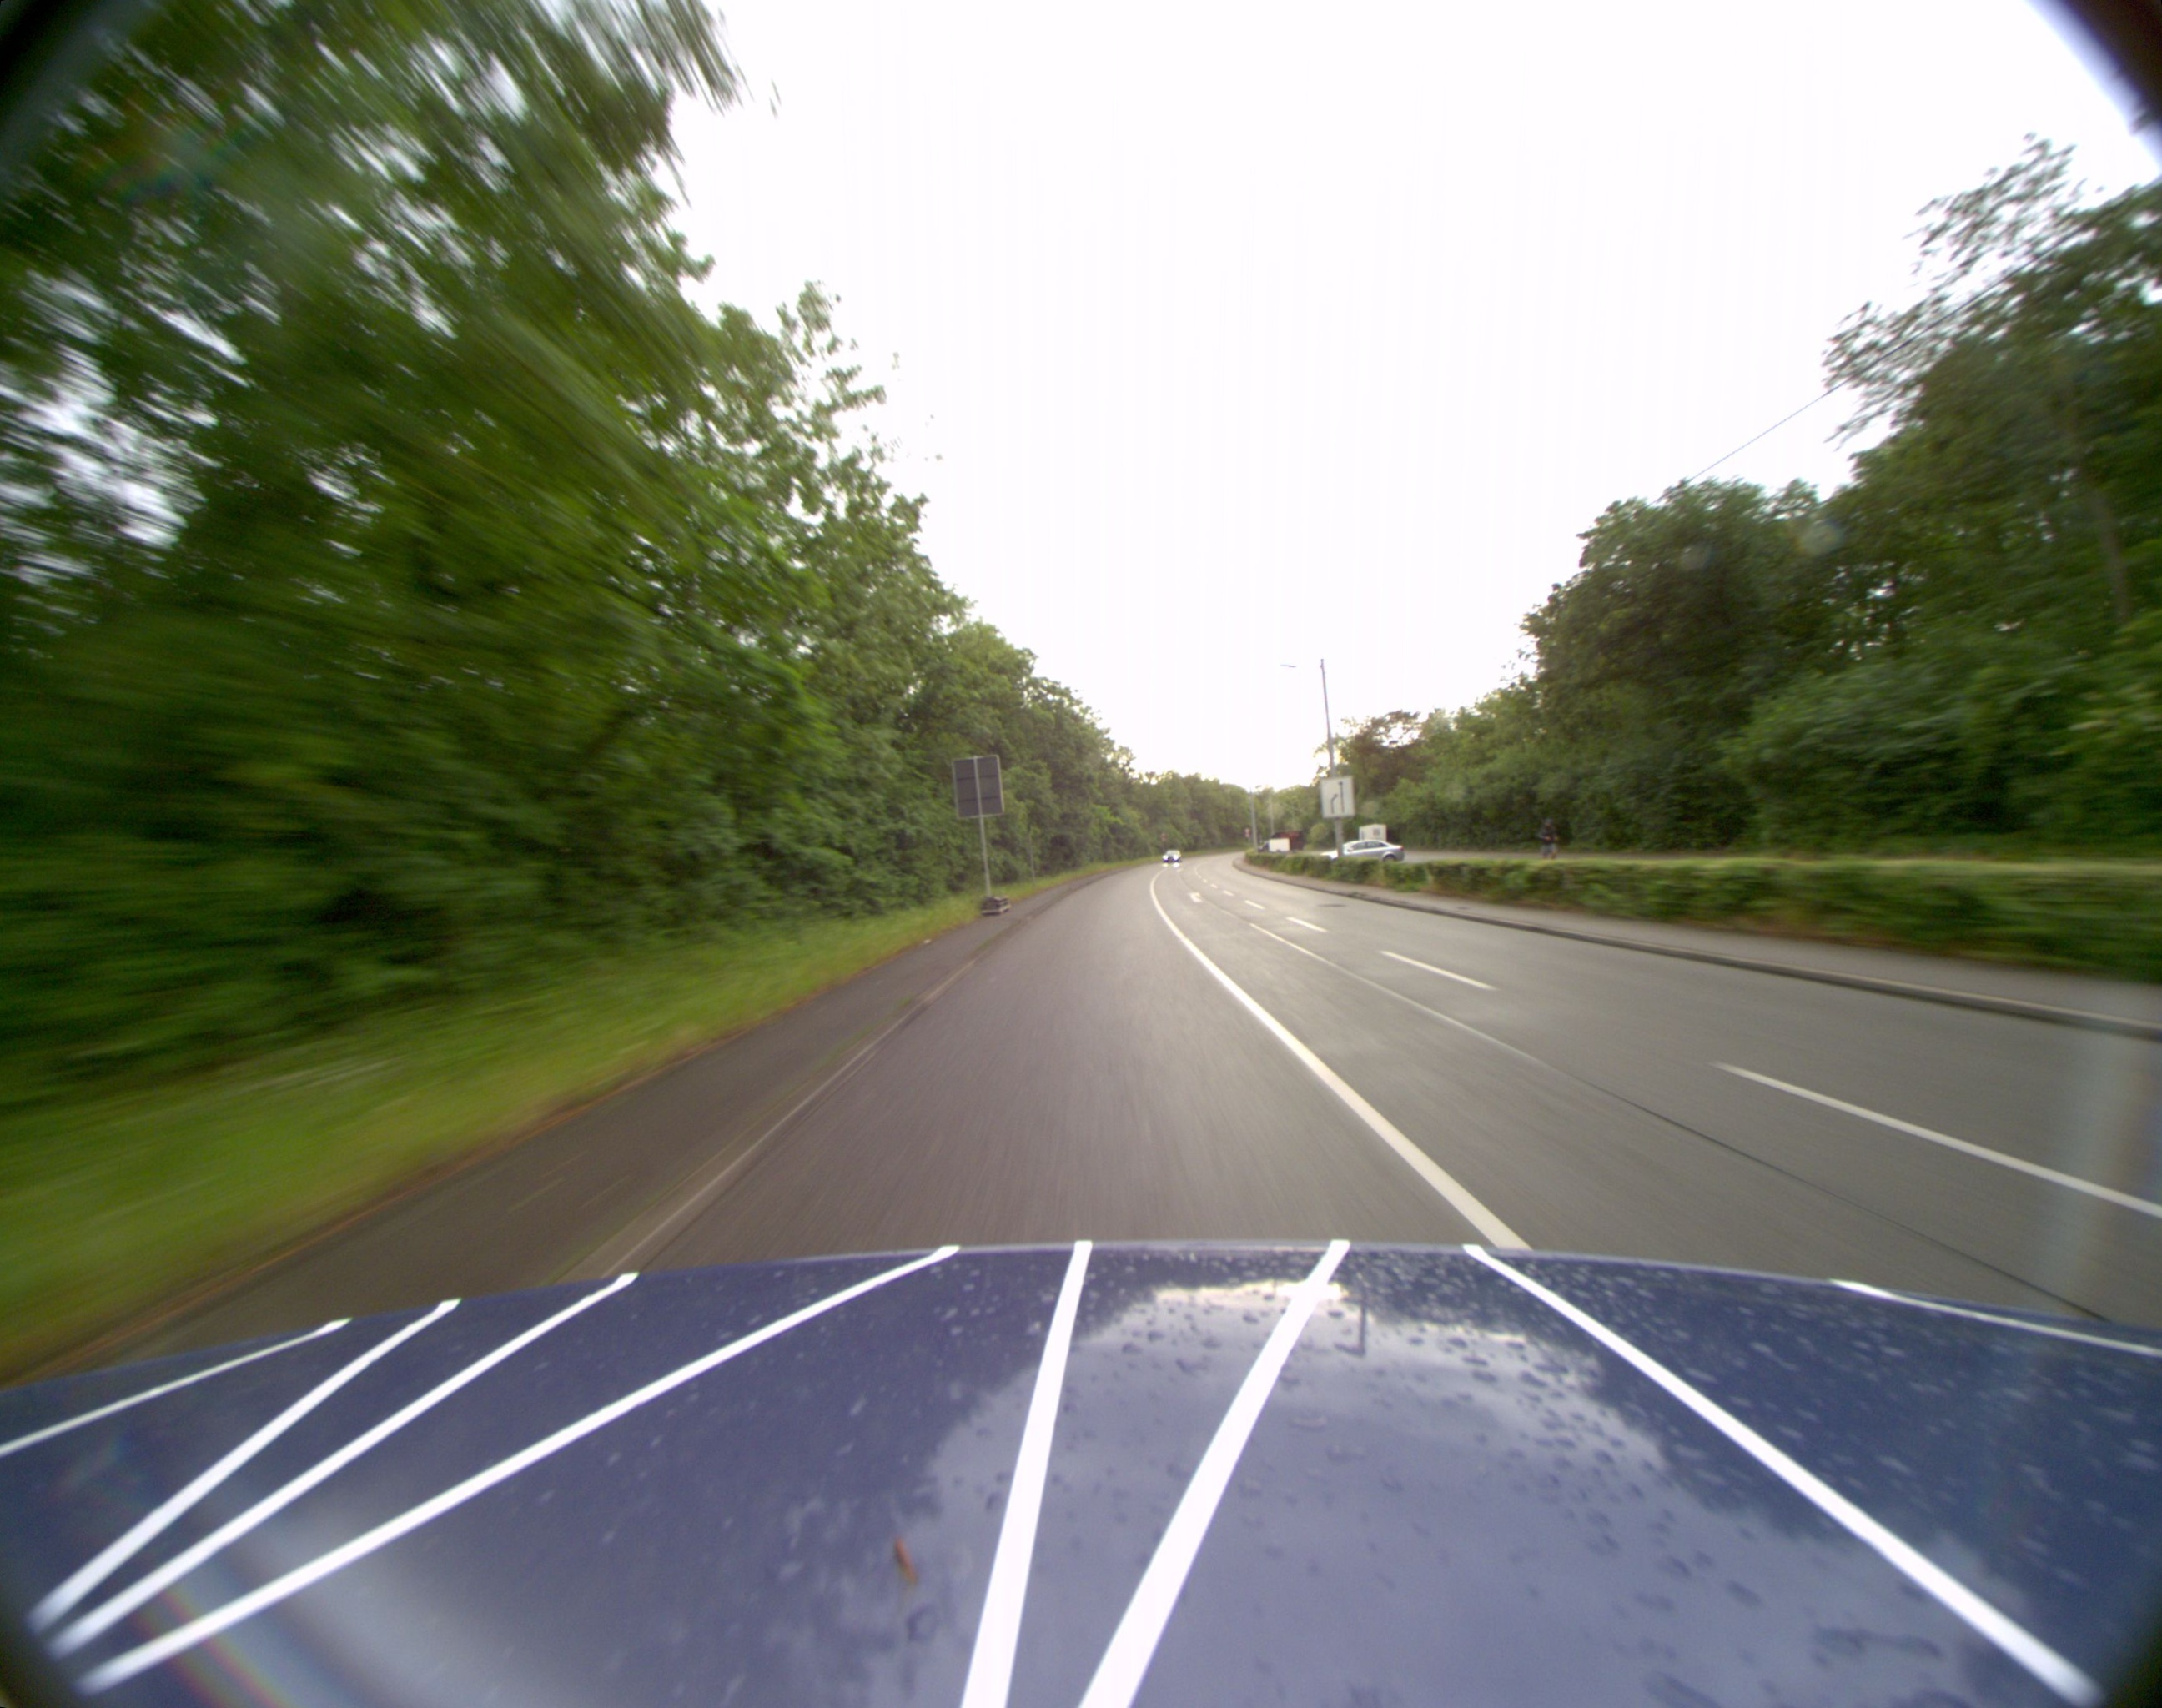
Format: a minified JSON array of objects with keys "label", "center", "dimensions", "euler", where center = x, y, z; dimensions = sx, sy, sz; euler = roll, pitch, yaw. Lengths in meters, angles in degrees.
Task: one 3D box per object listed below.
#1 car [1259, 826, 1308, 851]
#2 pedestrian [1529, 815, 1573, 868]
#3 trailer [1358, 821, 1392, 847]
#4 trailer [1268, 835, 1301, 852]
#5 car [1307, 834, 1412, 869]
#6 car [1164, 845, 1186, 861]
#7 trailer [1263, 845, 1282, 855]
[{"label":"car","center":[27.938,-2.162,105.205],"dimensions":[6.282,3.096,2.753],"euler":[-3,2,12]},{"label":"pedestrian","center":[16.837,-0.442,27.235],"dimensions":[0.819,1.787,1.135],"euler":[-3,1,-1]},{"label":"trailer","center":[35.492,-2.394,91.940],"dimensions":[2.480,2.857,7.983],"euler":[-2,1,12]},{"label":"trailer","center":[26.757,-1.442,99.906],"dimensions":[3.992,2.041,1.875],"euler":[-2,1,15]},{"label":"car","center":[14.258,-0.137,39.067],"dimensions":[4.586,1.497,2.000],"euler":[-3,1,0]},{"label":"car","center":[10.944,-0.093,88.416],"dimensions":[1.996,1.674,4.003],"euler":[-2,1,14]},{"label":"trailer","center":[20.246,-0.434,80.254],"dimensions":[1.804,1.028,1.334],"euler":[-3,1,9]}]
